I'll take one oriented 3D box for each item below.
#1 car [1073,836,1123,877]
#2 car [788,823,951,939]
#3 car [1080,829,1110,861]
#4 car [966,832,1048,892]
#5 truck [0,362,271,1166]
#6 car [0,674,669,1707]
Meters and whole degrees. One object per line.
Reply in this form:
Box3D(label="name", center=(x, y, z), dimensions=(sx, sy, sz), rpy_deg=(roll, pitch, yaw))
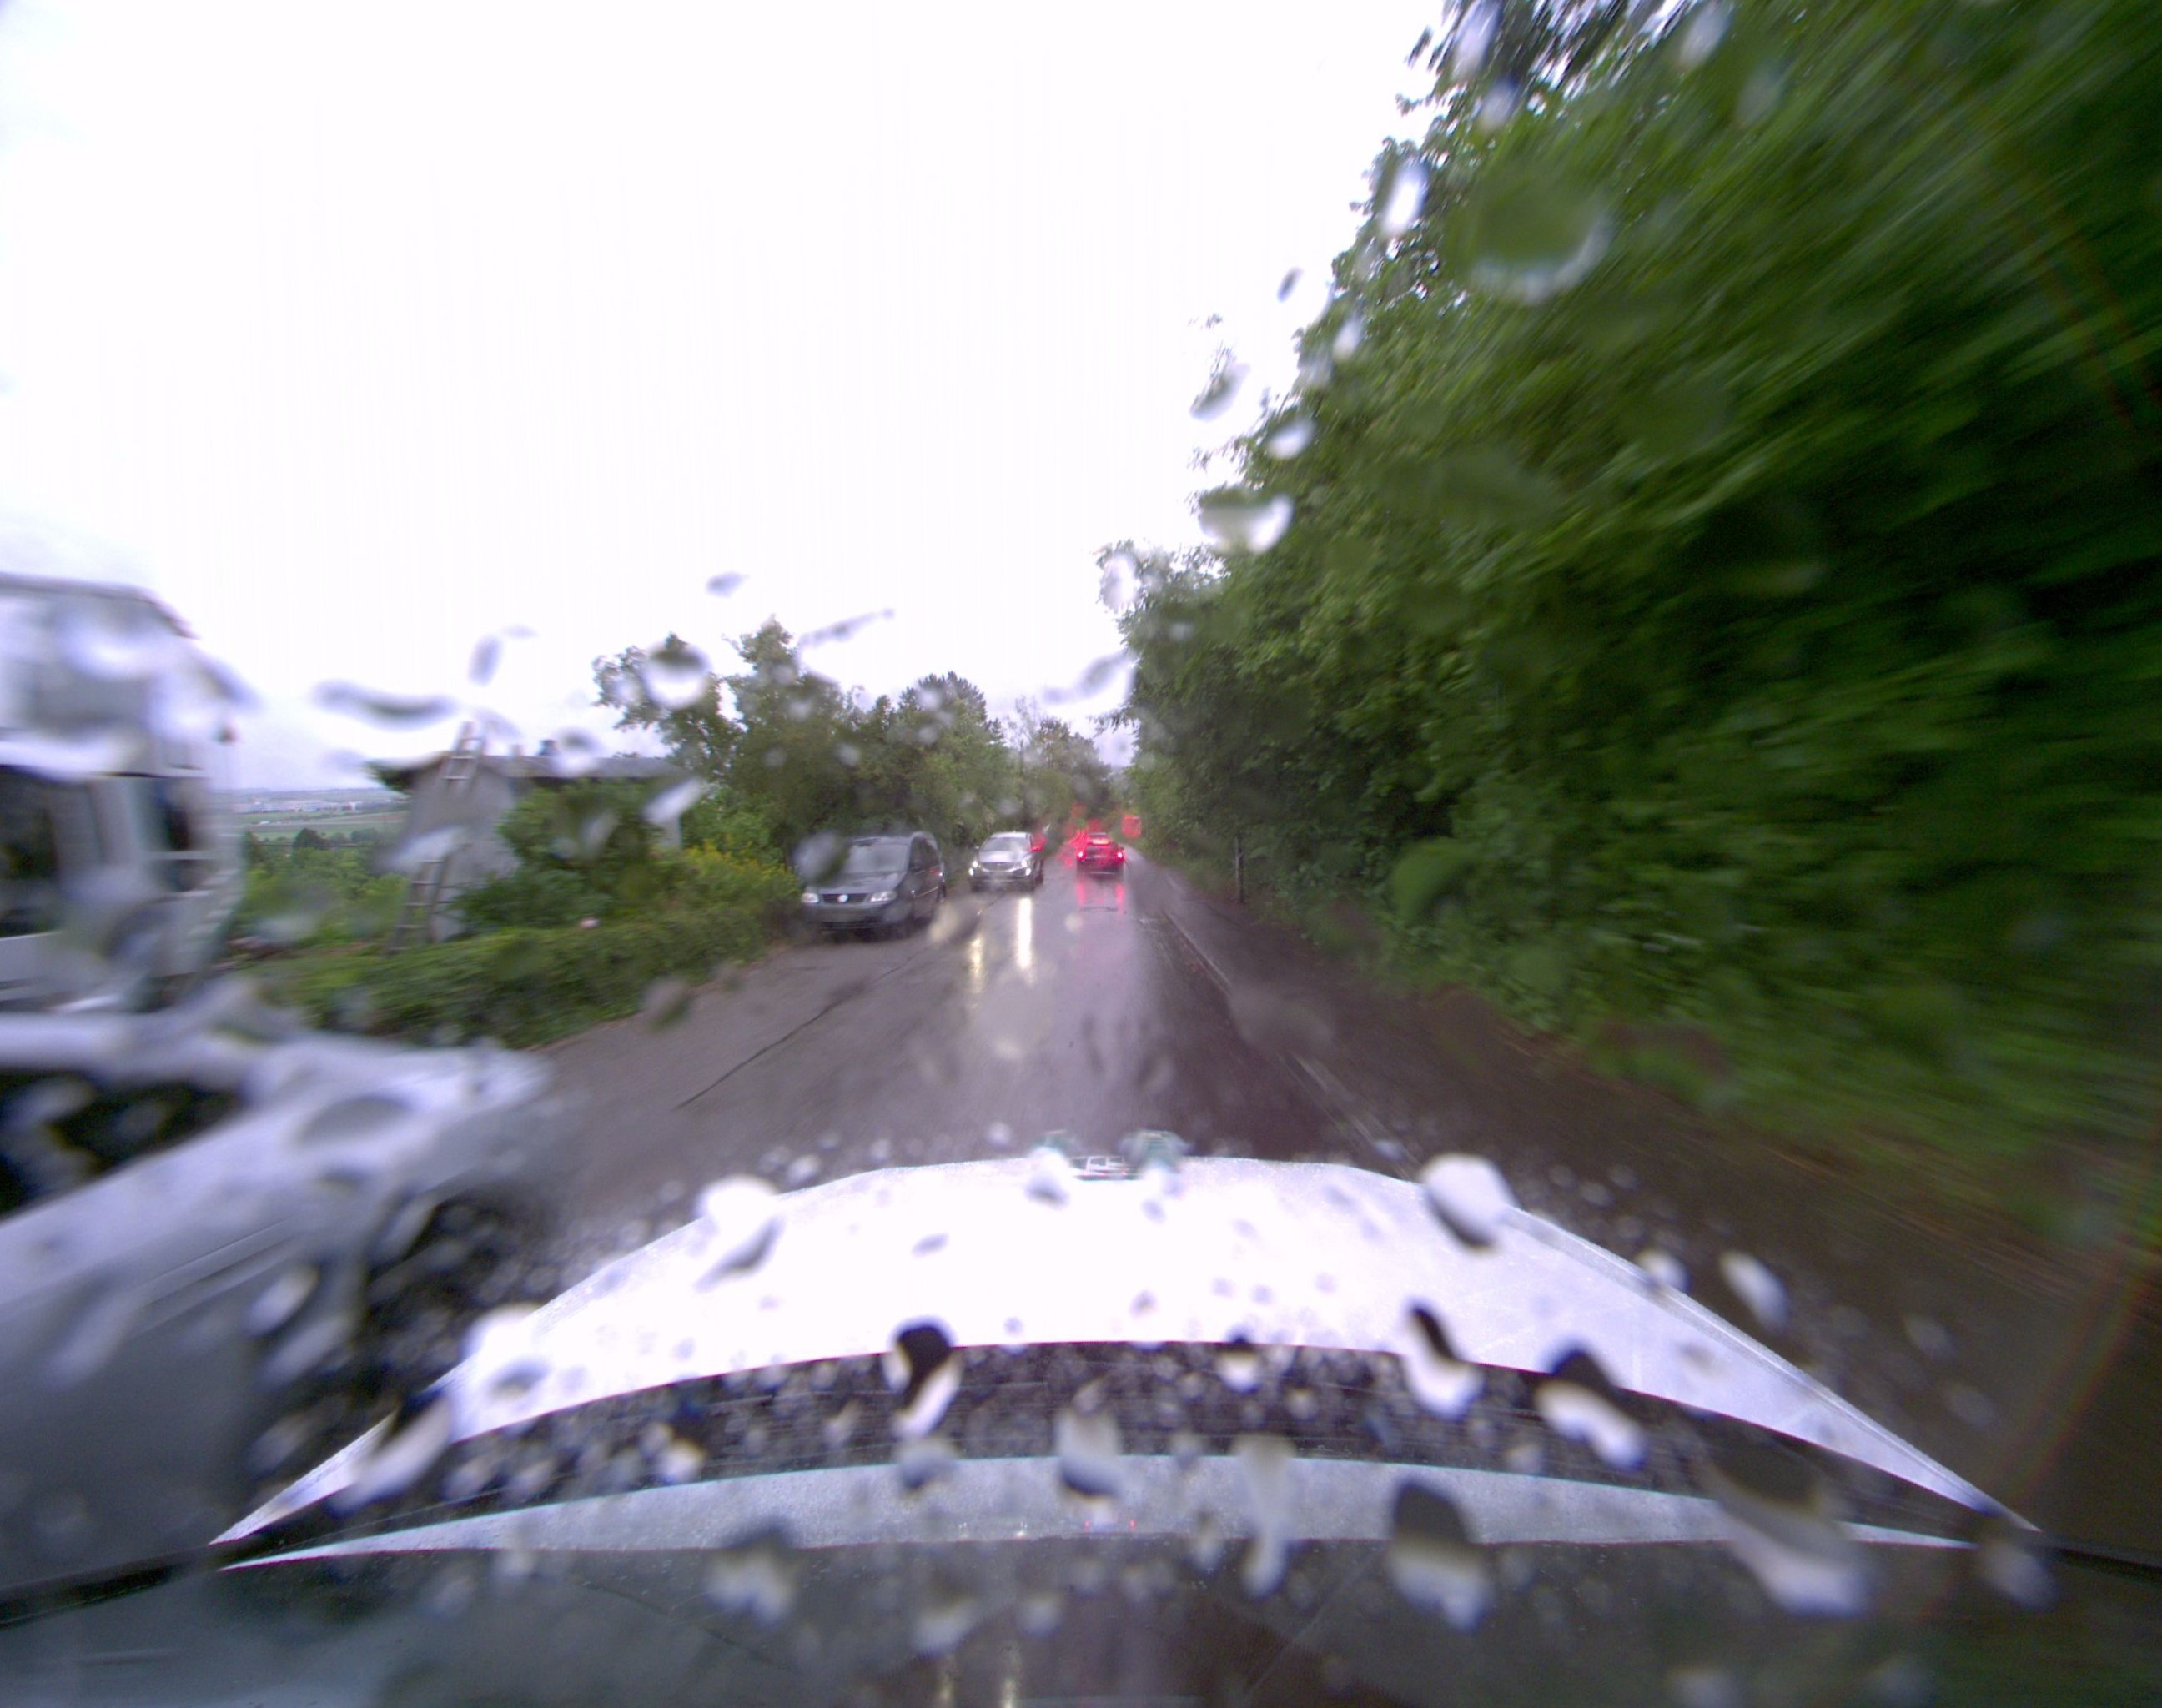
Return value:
Box3D(label="car", center=(0.615, 0.081, 31.550), dimensions=(1.695, 1.450, 3.997), rpy_deg=(-1, 0, -2))
Box3D(label="car", center=(-3.644, 0.391, 14.845), dimensions=(1.683, 1.782, 4.234), rpy_deg=(-1, 1, 2))
Box3D(label="car", center=(0.876, -0.555, 53.070), dimensions=(1.857, 1.744, 3.998), rpy_deg=(0, -4, 0))
Box3D(label="car", center=(-2.170, 0.170, 24.927), dimensions=(2.041, 1.601, 4.230), rpy_deg=(1, 2, 0))
Box3D(label="truck", center=(-8.467, -0.665, 6.247), dimensions=(2.688, 3.809, 8.036), rpy_deg=(3, 1, -42))
Box3D(label="car", center=(-2.591, 0.484, 0.689), dimensions=(1.933, 1.522, 4.581), rpy_deg=(-2, -4, 3))
